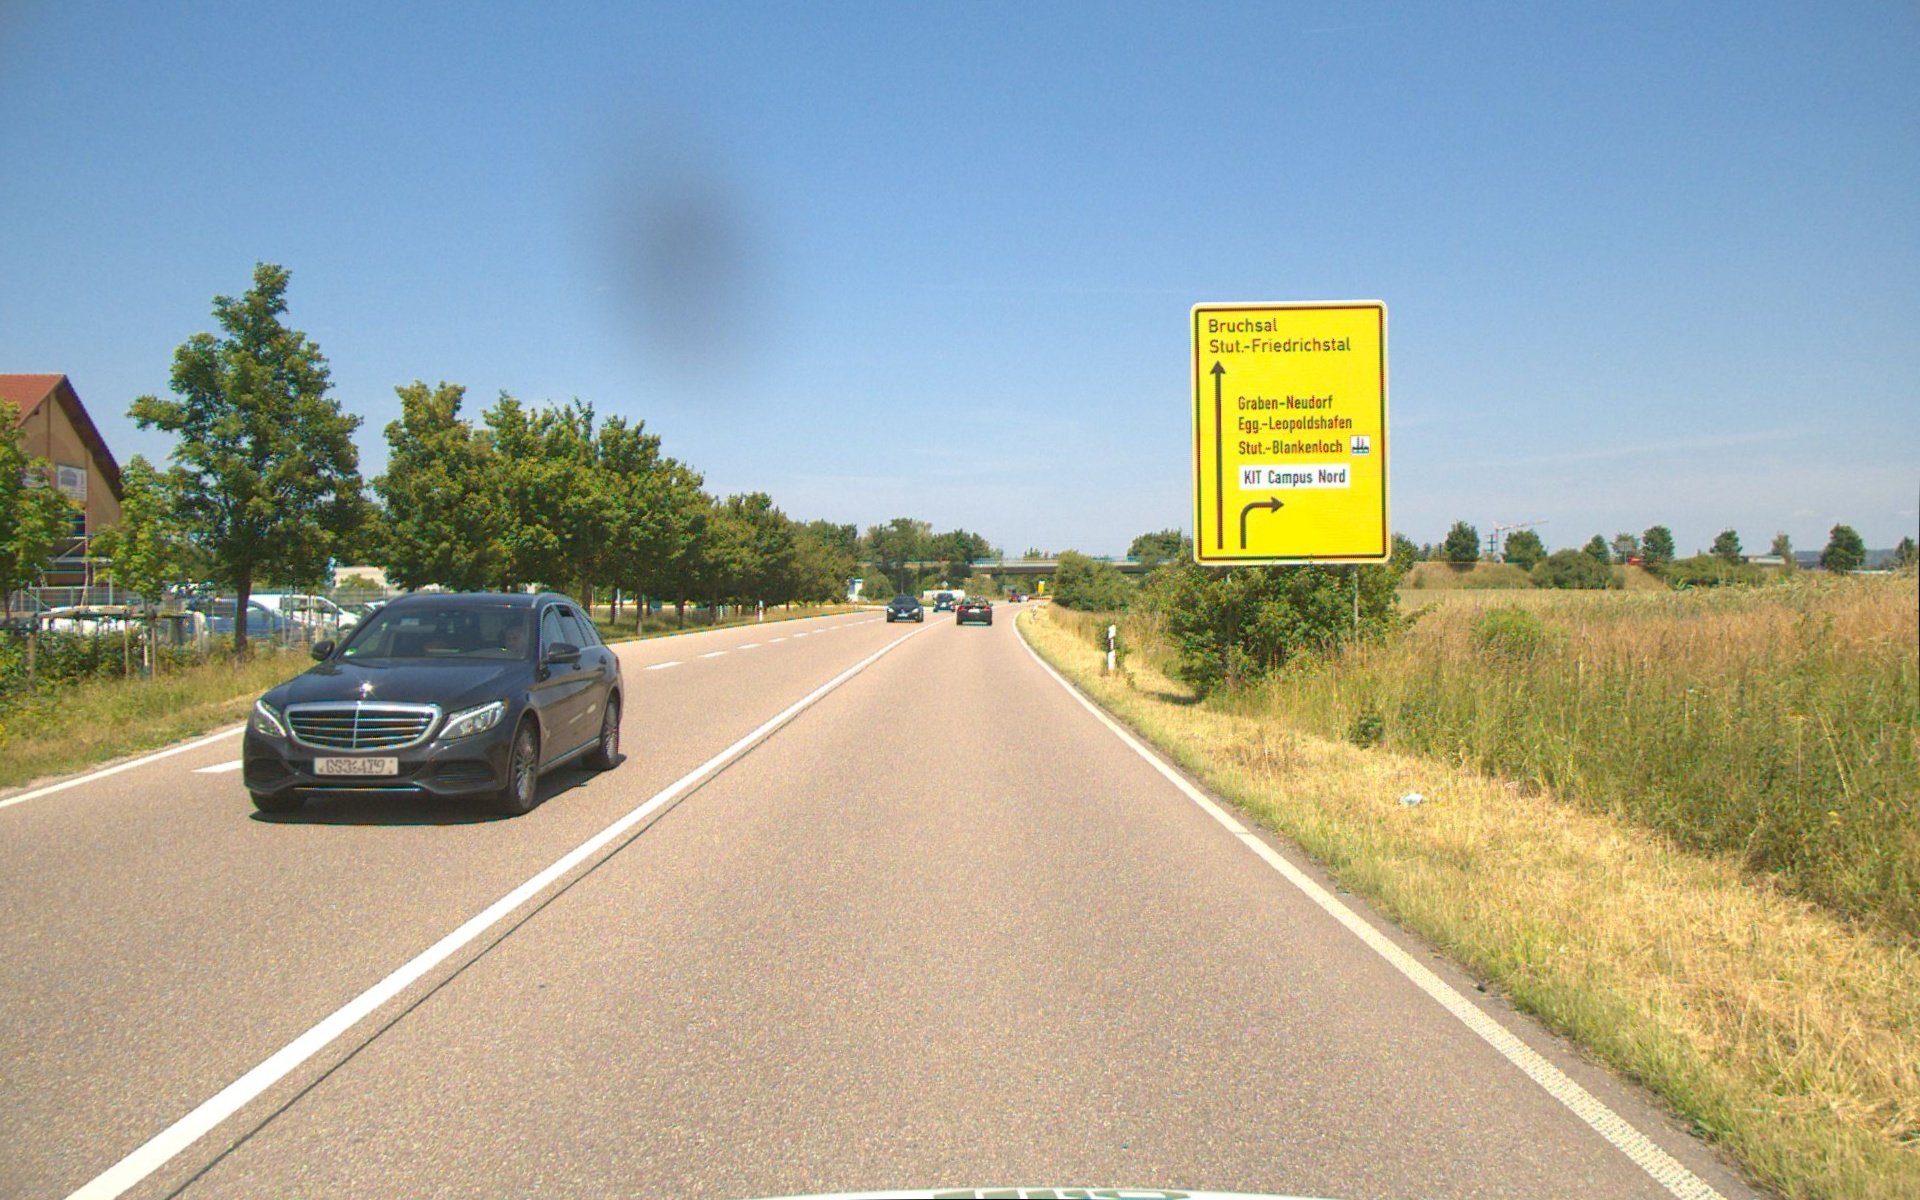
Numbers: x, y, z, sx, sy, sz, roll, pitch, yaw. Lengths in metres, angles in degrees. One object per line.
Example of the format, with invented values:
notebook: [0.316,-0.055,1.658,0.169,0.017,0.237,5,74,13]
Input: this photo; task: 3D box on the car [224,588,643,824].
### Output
car: [-3.686,0.649,12.495,1.745,1.445,4.533,1,0,-1]

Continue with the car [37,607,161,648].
car: [-31.277,0.998,60.136,3.613,1.433,1.641,0,0,-3]

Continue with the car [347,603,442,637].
car: [-26.589,0.924,77.829,3.953,1.505,1.650,0,0,-39]

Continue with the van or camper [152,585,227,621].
van or camper: [-52.864,0.231,113.627,2.413,2.404,6.534,0,0,-3]

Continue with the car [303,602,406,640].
car: [-26.790,0.922,73.219,3.955,1.624,1.975,0,0,-36]

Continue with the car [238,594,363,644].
car: [-27.341,0.769,68.600,4.605,1.988,1.807,0,0,-32]

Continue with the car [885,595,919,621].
car: [-2.875,0.390,82.516,1.602,1.291,3.811,1,0,-1]

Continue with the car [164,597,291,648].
car: [-27.133,0.818,61.406,4.233,1.833,2.010,0,0,-23]

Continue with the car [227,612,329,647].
car: [-26.636,1.142,64.571,3.622,1.287,1.801,0,0,-26]

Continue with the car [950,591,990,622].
car: [0.459,0.315,80.959,1.777,1.466,3.999,1,0,-2]

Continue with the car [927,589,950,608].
car: [-1.719,-0.118,133.818,1.645,1.525,3.886,1,0,1]
